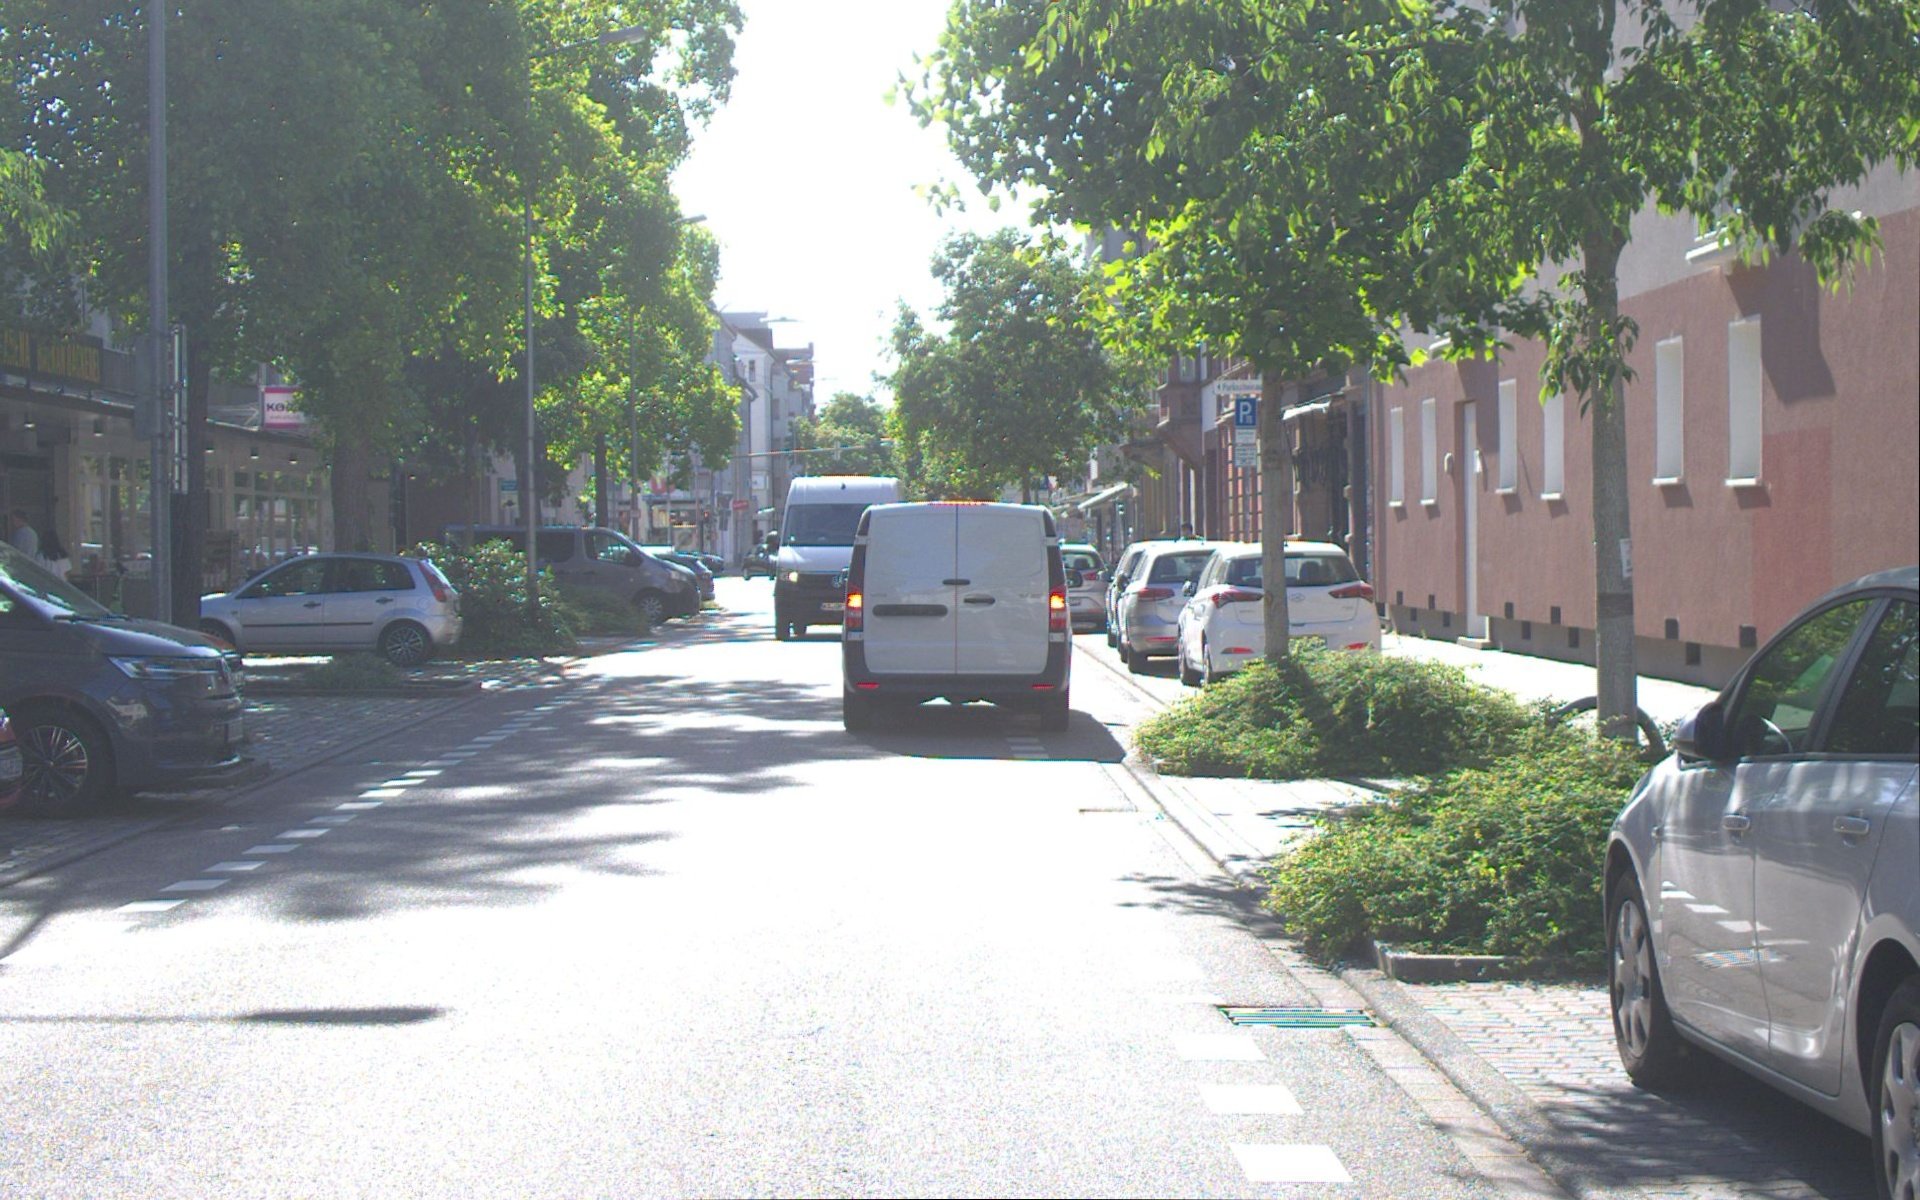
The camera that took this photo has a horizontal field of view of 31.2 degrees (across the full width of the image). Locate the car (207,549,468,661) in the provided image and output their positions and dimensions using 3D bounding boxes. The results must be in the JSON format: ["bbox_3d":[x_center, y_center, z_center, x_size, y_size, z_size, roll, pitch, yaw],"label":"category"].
[{"bbox_3d":[-7.990,0.048,44.328,3.099,1.404,1.662,0,1,-2],"label":"car"}]

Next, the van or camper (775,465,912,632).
[{"bbox_3d":[-1.793,-0.836,54.463,1.993,2.467,5.820,-1,1,-1],"label":"van or camper"}]

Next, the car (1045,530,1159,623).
[{"bbox_3d":[2.373,-0.419,58.257,1.740,1.514,3.858,-1,1,0],"label":"car"}]

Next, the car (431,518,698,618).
[{"bbox_3d":[-7.926,-0.647,69.194,5.212,1.974,1.662,0,1,-2],"label":"car"}]

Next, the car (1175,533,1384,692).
[{"bbox_3d":[3.192,0.088,34.980,1.740,1.514,3.858,-1,1,0],"label":"car"}]

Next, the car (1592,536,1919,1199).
[{"bbox_3d":[2.724,0.606,8.102,1.740,1.514,3.858,-1,1,0],"label":"car"}]

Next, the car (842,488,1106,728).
[{"bbox_3d":[0.050,0.000,30.277,2.101,1.901,5.425,0,1,-1],"label":"car"}]

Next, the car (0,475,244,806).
[{"bbox_3d":[-7.214,0.233,21.310,5.212,1.974,1.662,0,1,-2],"label":"car"}]

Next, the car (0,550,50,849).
[{"bbox_3d":[-7.496,0.537,18.757,4.626,1.605,1.662,0,1,-2],"label":"car"}]

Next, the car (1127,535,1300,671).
[{"bbox_3d":[2.949,-0.002,40.619,1.740,1.514,3.858,-1,1,0],"label":"car"}]
